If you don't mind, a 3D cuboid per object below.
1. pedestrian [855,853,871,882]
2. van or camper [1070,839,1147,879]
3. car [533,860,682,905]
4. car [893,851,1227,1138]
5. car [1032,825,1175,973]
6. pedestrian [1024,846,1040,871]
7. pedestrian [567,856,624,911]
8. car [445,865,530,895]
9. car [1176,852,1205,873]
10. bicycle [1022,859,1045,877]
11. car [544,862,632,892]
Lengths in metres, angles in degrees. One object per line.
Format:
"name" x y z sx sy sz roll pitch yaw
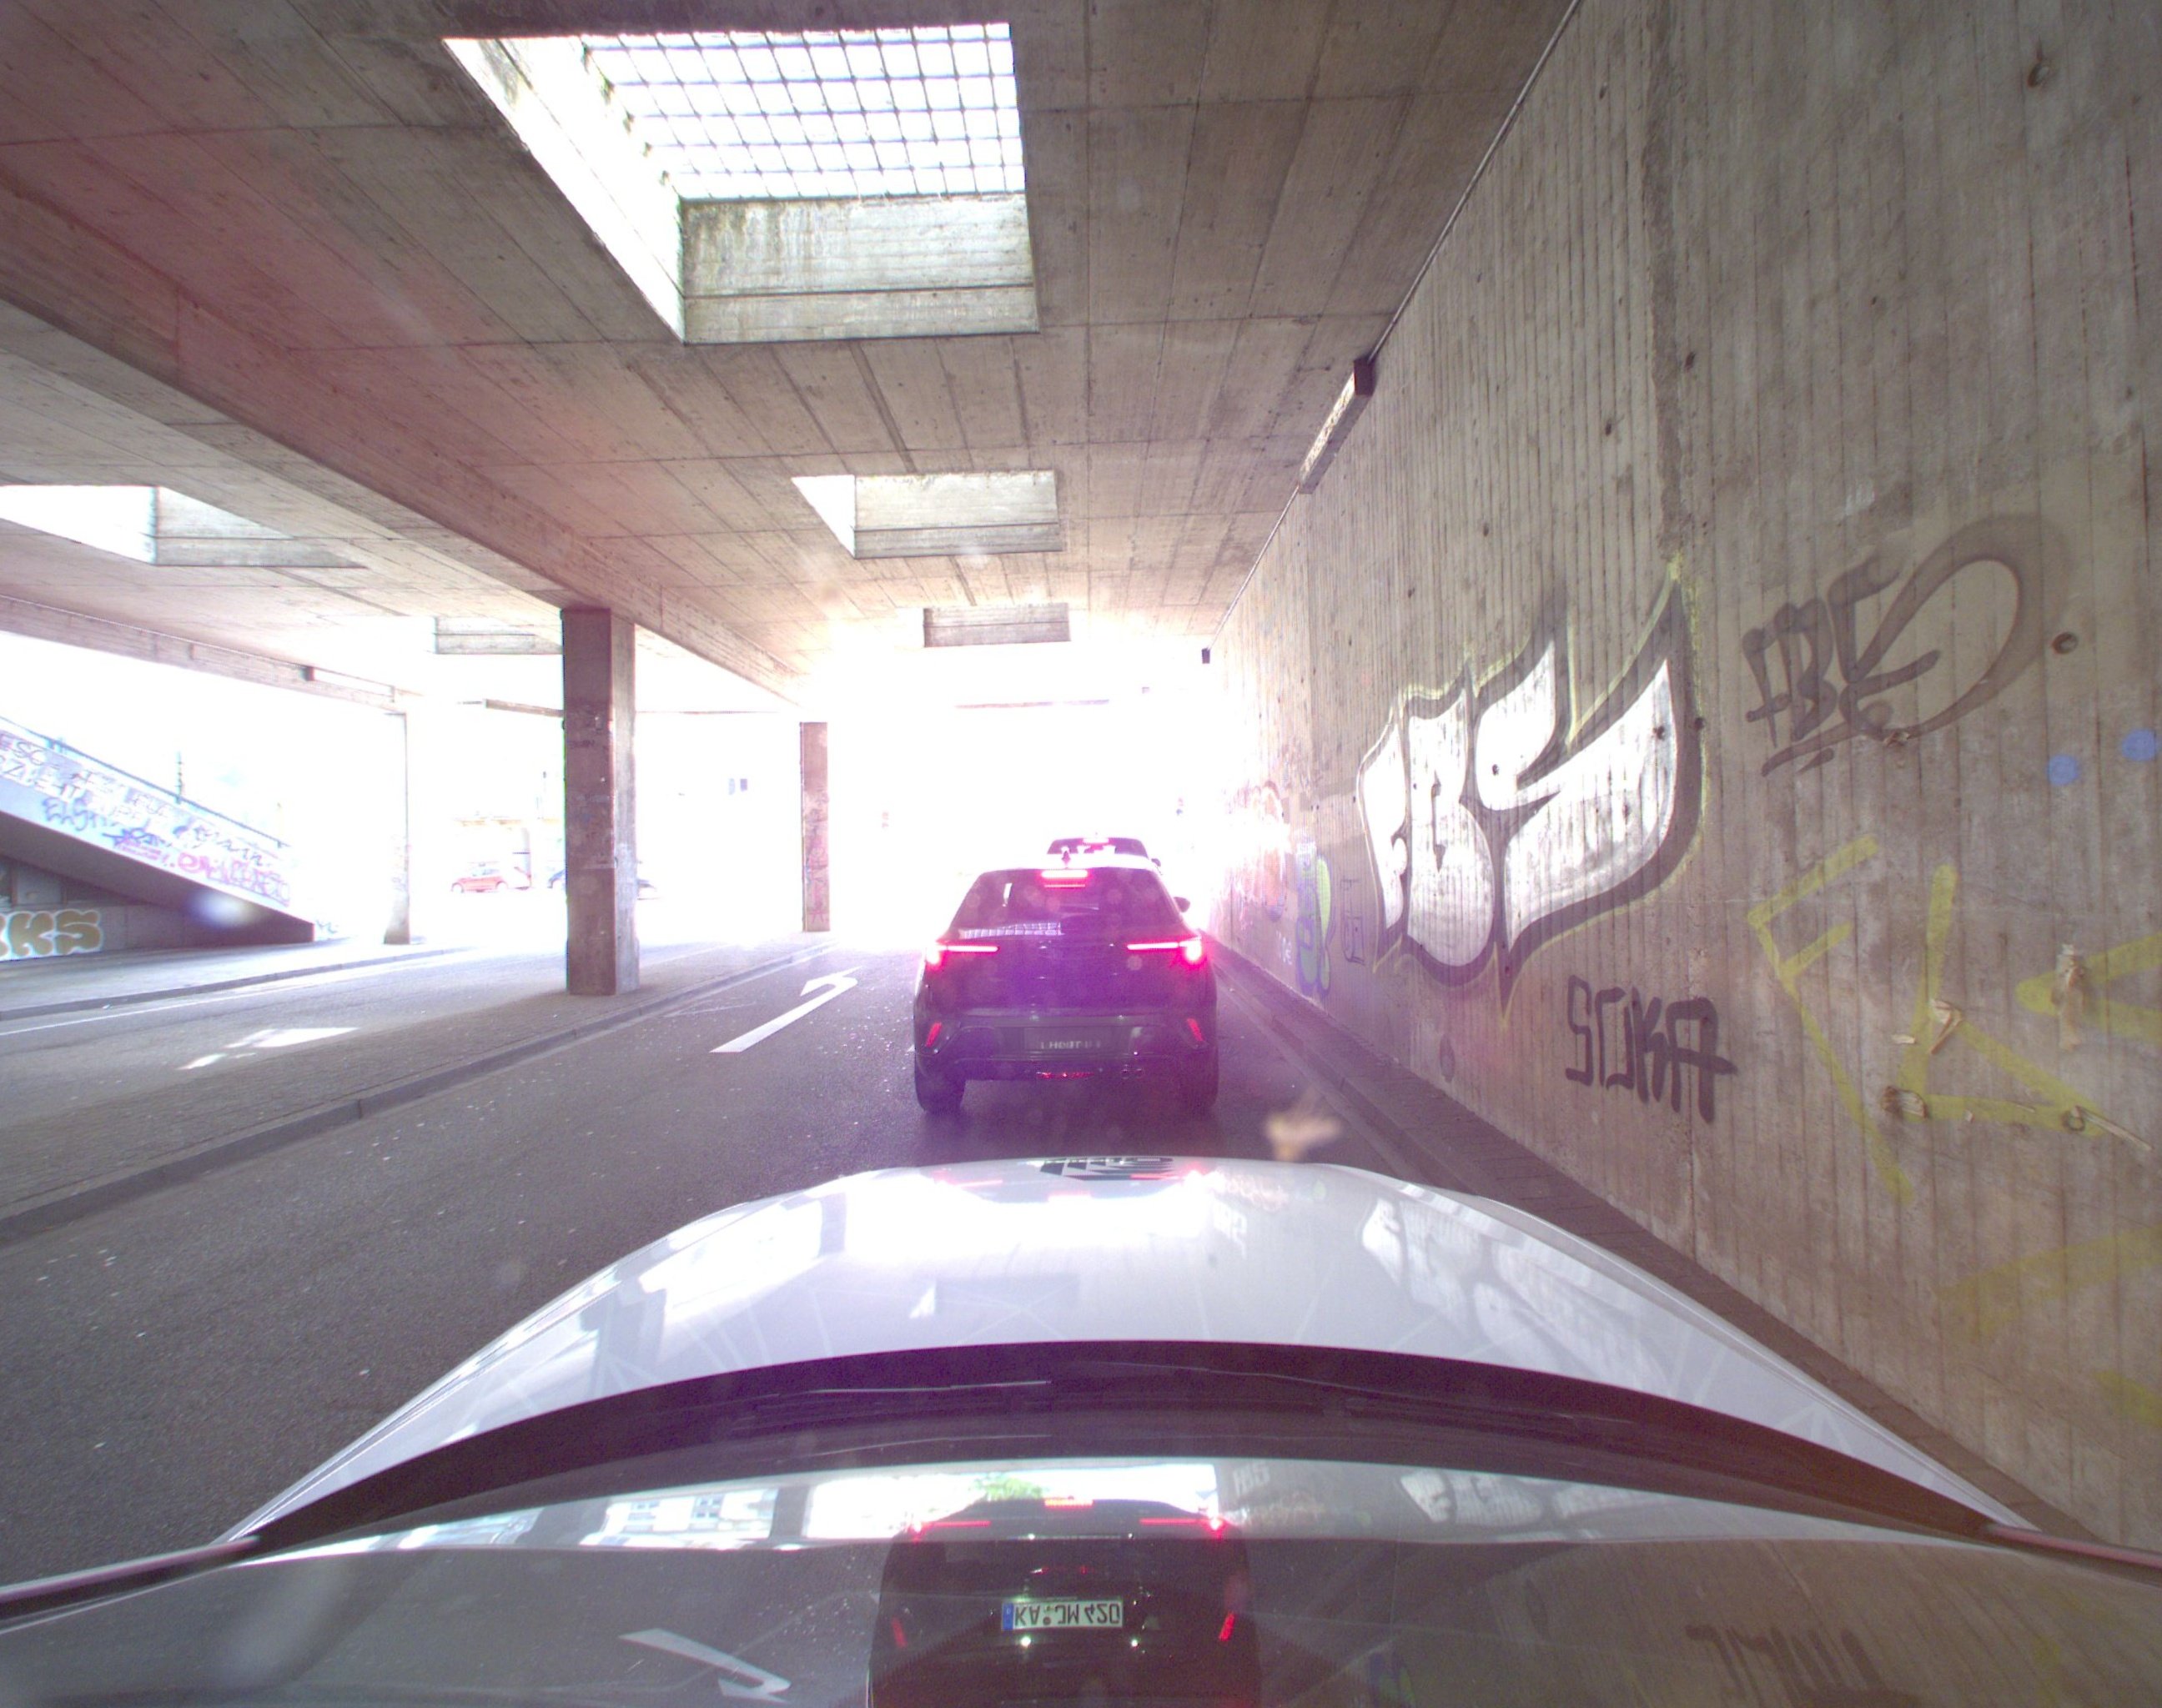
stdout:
"pedestrian" -13.175 0.824 49.205 0.617 1.705 0.727 0 -1 22
"van or camper" 1.504 0.276 43.503 3.854 2.013 2.005 -2 0 9
"car" -18.560 1.091 32.071 4.696 1.534 2.003 -1 1 5
"car" -0.034 0.737 6.273 1.746 1.498 4.002 0 0 2
"car" 0.349 0.562 12.167 1.779 1.833 3.962 -1 0 2
"pedestrian" -3.131 0.265 52.436 0.729 1.585 0.894 0 -1 18
"pedestrian" -16.104 0.964 27.047 1.103 1.737 1.146 -1 0 15
"car" -32.840 1.438 45.118 3.519 1.506 1.563 -2 0 2
"car" 8.815 0.654 65.780 1.985 1.641 4.597 -2 0 4
"bicycle" -3.066 0.884 52.568 0.730 1.130 2.036 -2 0 19
"car" -27.386 1.288 45.294 3.742 1.508 1.752 -2 0 0
